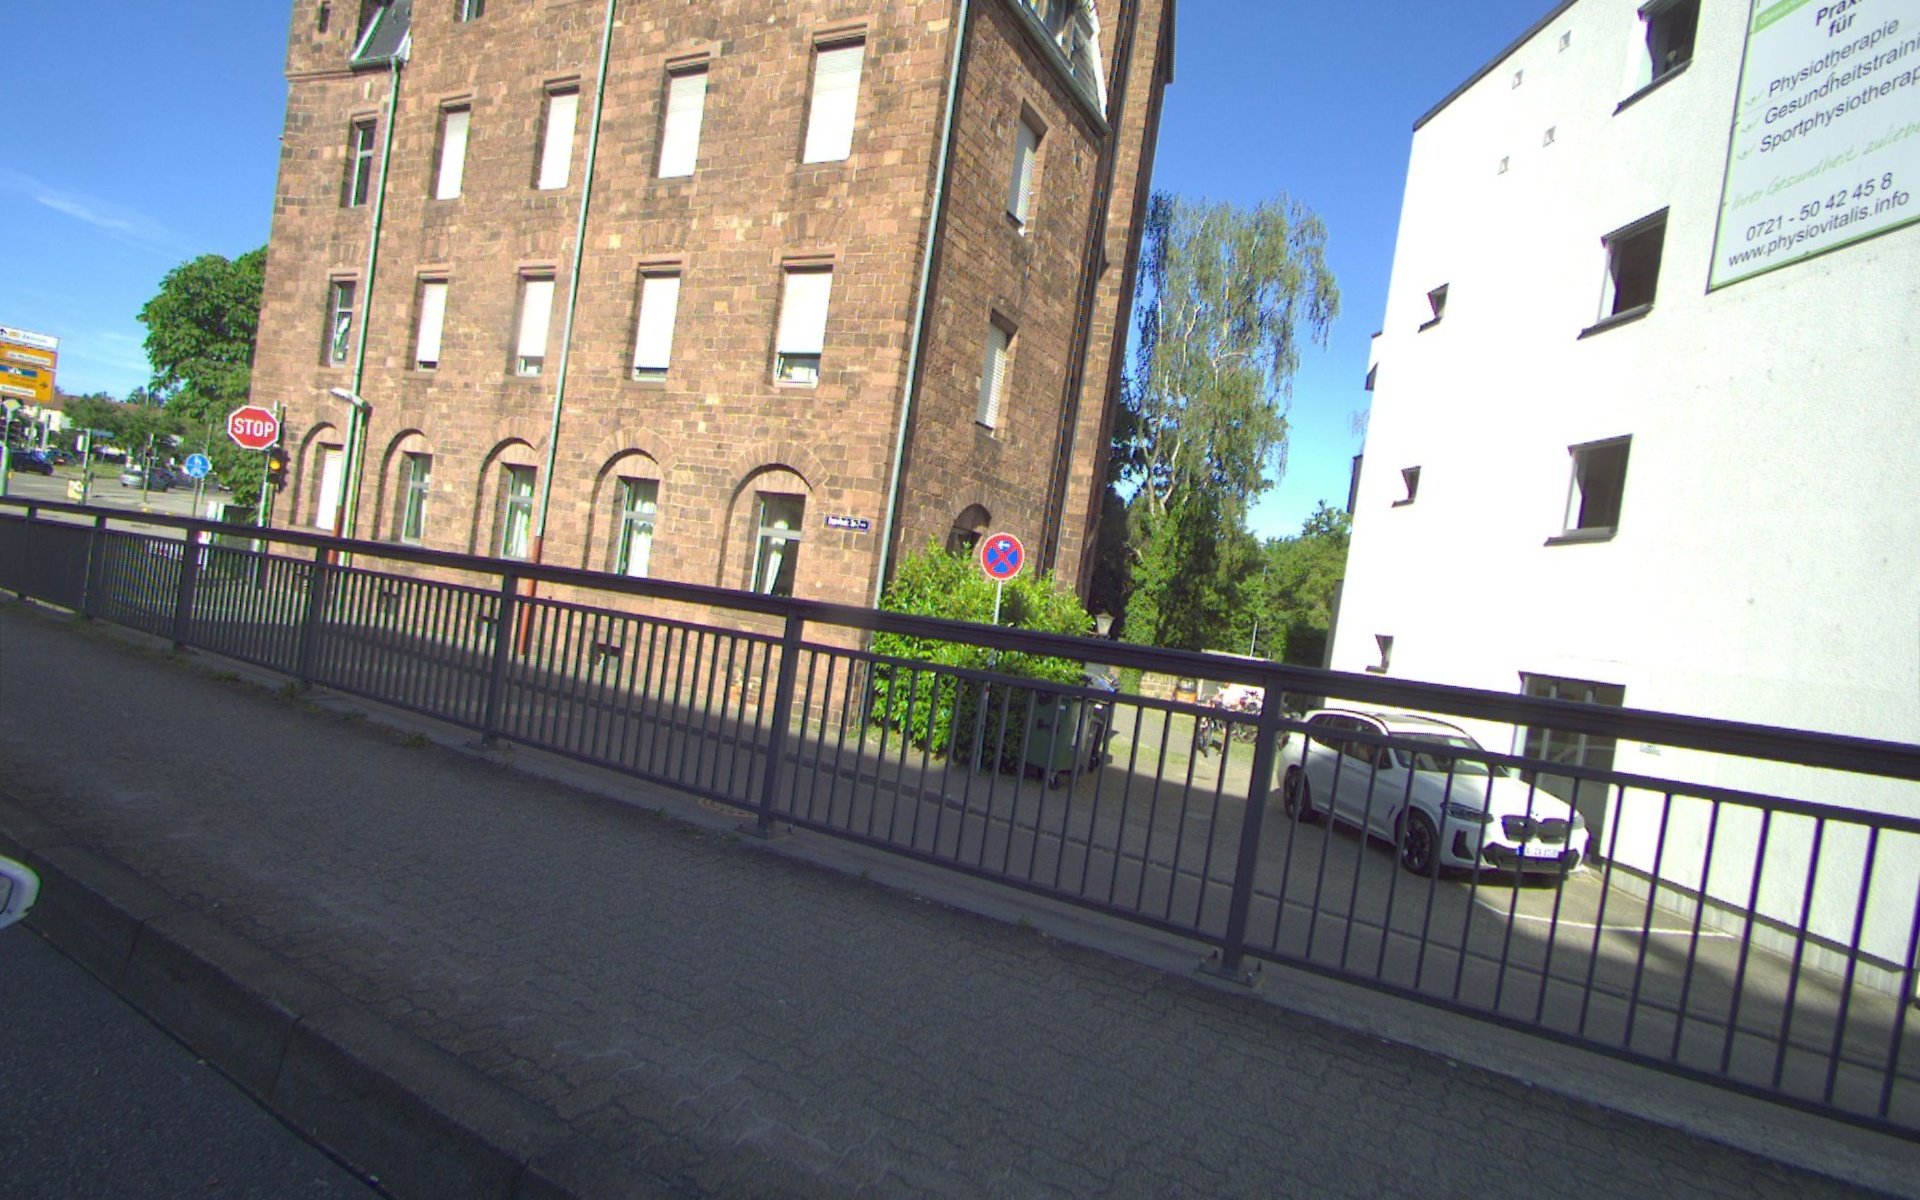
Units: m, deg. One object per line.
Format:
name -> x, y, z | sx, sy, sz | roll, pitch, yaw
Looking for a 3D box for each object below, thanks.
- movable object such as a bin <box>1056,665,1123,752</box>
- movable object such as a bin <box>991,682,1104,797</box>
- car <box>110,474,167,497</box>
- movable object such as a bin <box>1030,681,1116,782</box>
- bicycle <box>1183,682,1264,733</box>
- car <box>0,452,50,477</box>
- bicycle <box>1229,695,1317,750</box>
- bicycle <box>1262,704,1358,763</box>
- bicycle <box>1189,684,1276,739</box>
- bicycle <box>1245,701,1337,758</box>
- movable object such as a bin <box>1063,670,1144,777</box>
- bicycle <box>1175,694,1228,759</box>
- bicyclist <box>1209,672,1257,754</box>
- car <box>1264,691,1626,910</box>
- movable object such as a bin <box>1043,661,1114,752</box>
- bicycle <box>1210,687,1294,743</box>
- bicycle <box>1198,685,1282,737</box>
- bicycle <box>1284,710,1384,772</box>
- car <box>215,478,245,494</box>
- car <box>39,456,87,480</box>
movable object such as a bin -> 2.642, 2.180, 20.459 | 1.009, 1.539, 1.007 | 9, 0, 14
movable object such as a bin -> 1.189, 1.849, 13.520 | 1.011, 1.307, 1.005 | 10, 0, 29
car -> -64.243, -8.953, 78.777 | 1.973, 1.311, 4.569 | 8, 1, -21
movable object such as a bin -> 1.757, 1.996, 15.482 | 1.009, 1.307, 1.007 | 10, 0, 14
bicycle -> 7.660, 3.132, 29.267 | 2.075, 1.174, 0.664 | 8, 1, -9
car -> -67.498, -9.710, 71.752 | 1.858, 1.311, 4.575 | 8, 1, -16
bicycle -> 7.866, 3.079, 25.281 | 1.889, 1.065, 0.664 | 8, 1, -6
bicycle -> 8.126, 3.091, 23.366 | 1.889, 1.065, 0.664 | 8, 1, -6
bicycle -> 7.403, 3.024, 27.382 | 2.075, 1.174, 0.664 | 8, 1, -9
bicycle -> 7.970, 3.111, 24.254 | 1.889, 1.065, 0.664 | 8, 1, -6
movable object such as a bin -> 2.397, 2.014, 16.664 | 1.009, 1.539, 1.007 | 9, 0, 14
bicycle -> 5.210, 2.687, 21.647 | 0.677, 1.155, 1.837 | 9, 1, 23
bicyclist -> 5.829, 2.397, 21.460 | 0.675, 1.627, 0.696 | 9, 0, 24
car -> 5.965, 2.401, 13.151 | 1.814, 1.707, 4.521 | 8, 0, -9
movable object such as a bin -> 2.282, 2.014, 19.270 | 1.009, 1.539, 1.007 | 9, 0, 14
bicycle -> 7.664, 3.022, 26.449 | 1.889, 1.174, 0.664 | 8, 1, -6
bicycle -> 7.904, 3.131, 28.414 | 2.075, 1.174, 0.664 | 8, 1, -9
bicycle -> 8.330, 3.135, 22.452 | 1.889, 1.065, 0.664 | 8, 1, -6
car -> -81.167, -12.698, 111.859 | 1.765, 1.375, 4.050 | 8, 2, -25
car -> -82.318, -12.104, 92.347 | 1.860, 1.598, 3.978 | 8, 1, -22
